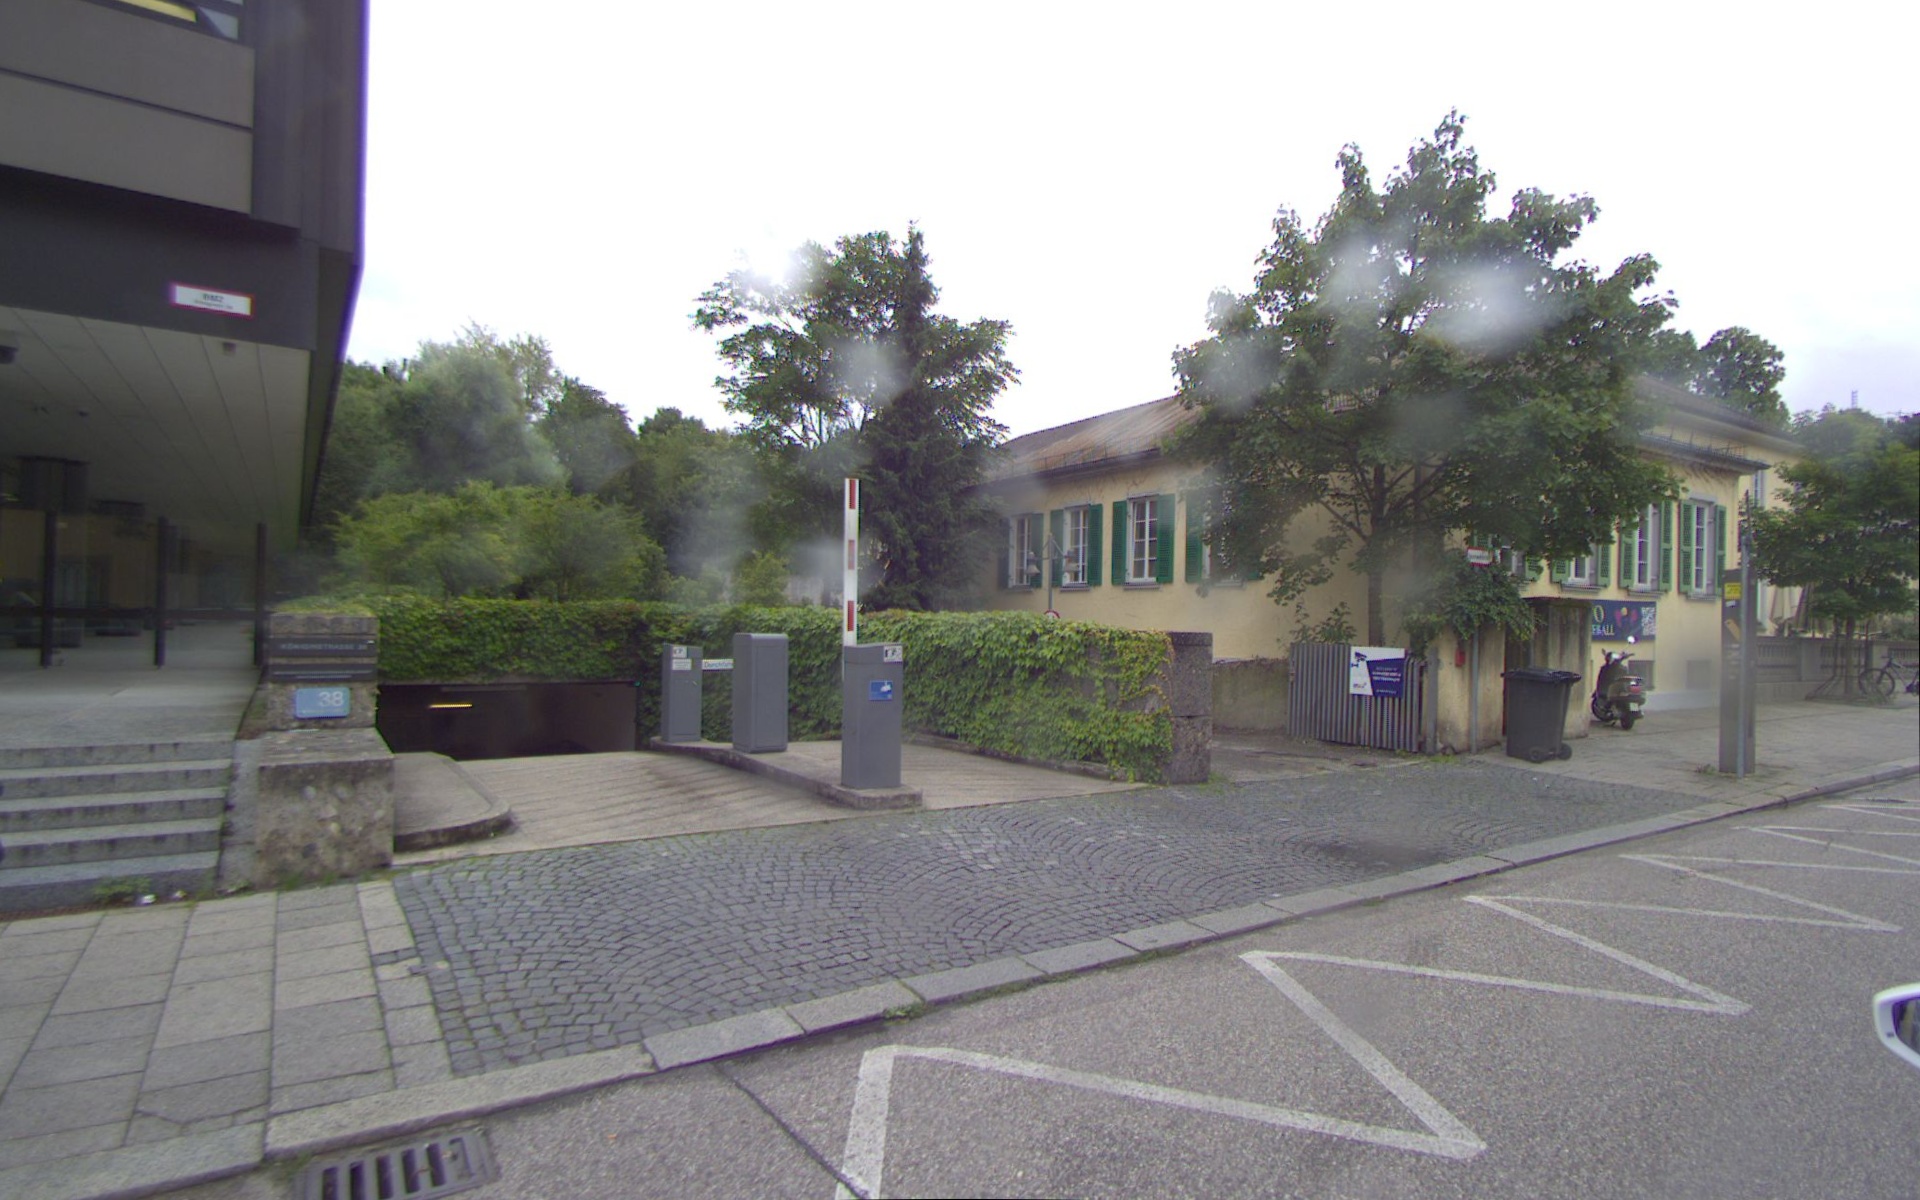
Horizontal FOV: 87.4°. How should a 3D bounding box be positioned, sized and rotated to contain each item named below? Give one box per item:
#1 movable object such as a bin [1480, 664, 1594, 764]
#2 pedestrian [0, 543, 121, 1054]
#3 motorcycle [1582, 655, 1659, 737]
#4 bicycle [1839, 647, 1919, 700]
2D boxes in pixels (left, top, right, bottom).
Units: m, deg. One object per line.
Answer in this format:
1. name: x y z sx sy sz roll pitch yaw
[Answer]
1. movable object such as a bin: 6.949 1.342 12.111 0.832 1.078 0.928 1 0 -36
2. pedestrian: -3.791 0.678 3.656 0.941 1.772 0.750 2 -1 -28
3. motorcycle: 10.427 1.475 15.910 0.548 1.116 1.838 2 0 19
4. bicycle: 21.893 1.718 23.469 0.608 1.114 1.921 2 1 -30
